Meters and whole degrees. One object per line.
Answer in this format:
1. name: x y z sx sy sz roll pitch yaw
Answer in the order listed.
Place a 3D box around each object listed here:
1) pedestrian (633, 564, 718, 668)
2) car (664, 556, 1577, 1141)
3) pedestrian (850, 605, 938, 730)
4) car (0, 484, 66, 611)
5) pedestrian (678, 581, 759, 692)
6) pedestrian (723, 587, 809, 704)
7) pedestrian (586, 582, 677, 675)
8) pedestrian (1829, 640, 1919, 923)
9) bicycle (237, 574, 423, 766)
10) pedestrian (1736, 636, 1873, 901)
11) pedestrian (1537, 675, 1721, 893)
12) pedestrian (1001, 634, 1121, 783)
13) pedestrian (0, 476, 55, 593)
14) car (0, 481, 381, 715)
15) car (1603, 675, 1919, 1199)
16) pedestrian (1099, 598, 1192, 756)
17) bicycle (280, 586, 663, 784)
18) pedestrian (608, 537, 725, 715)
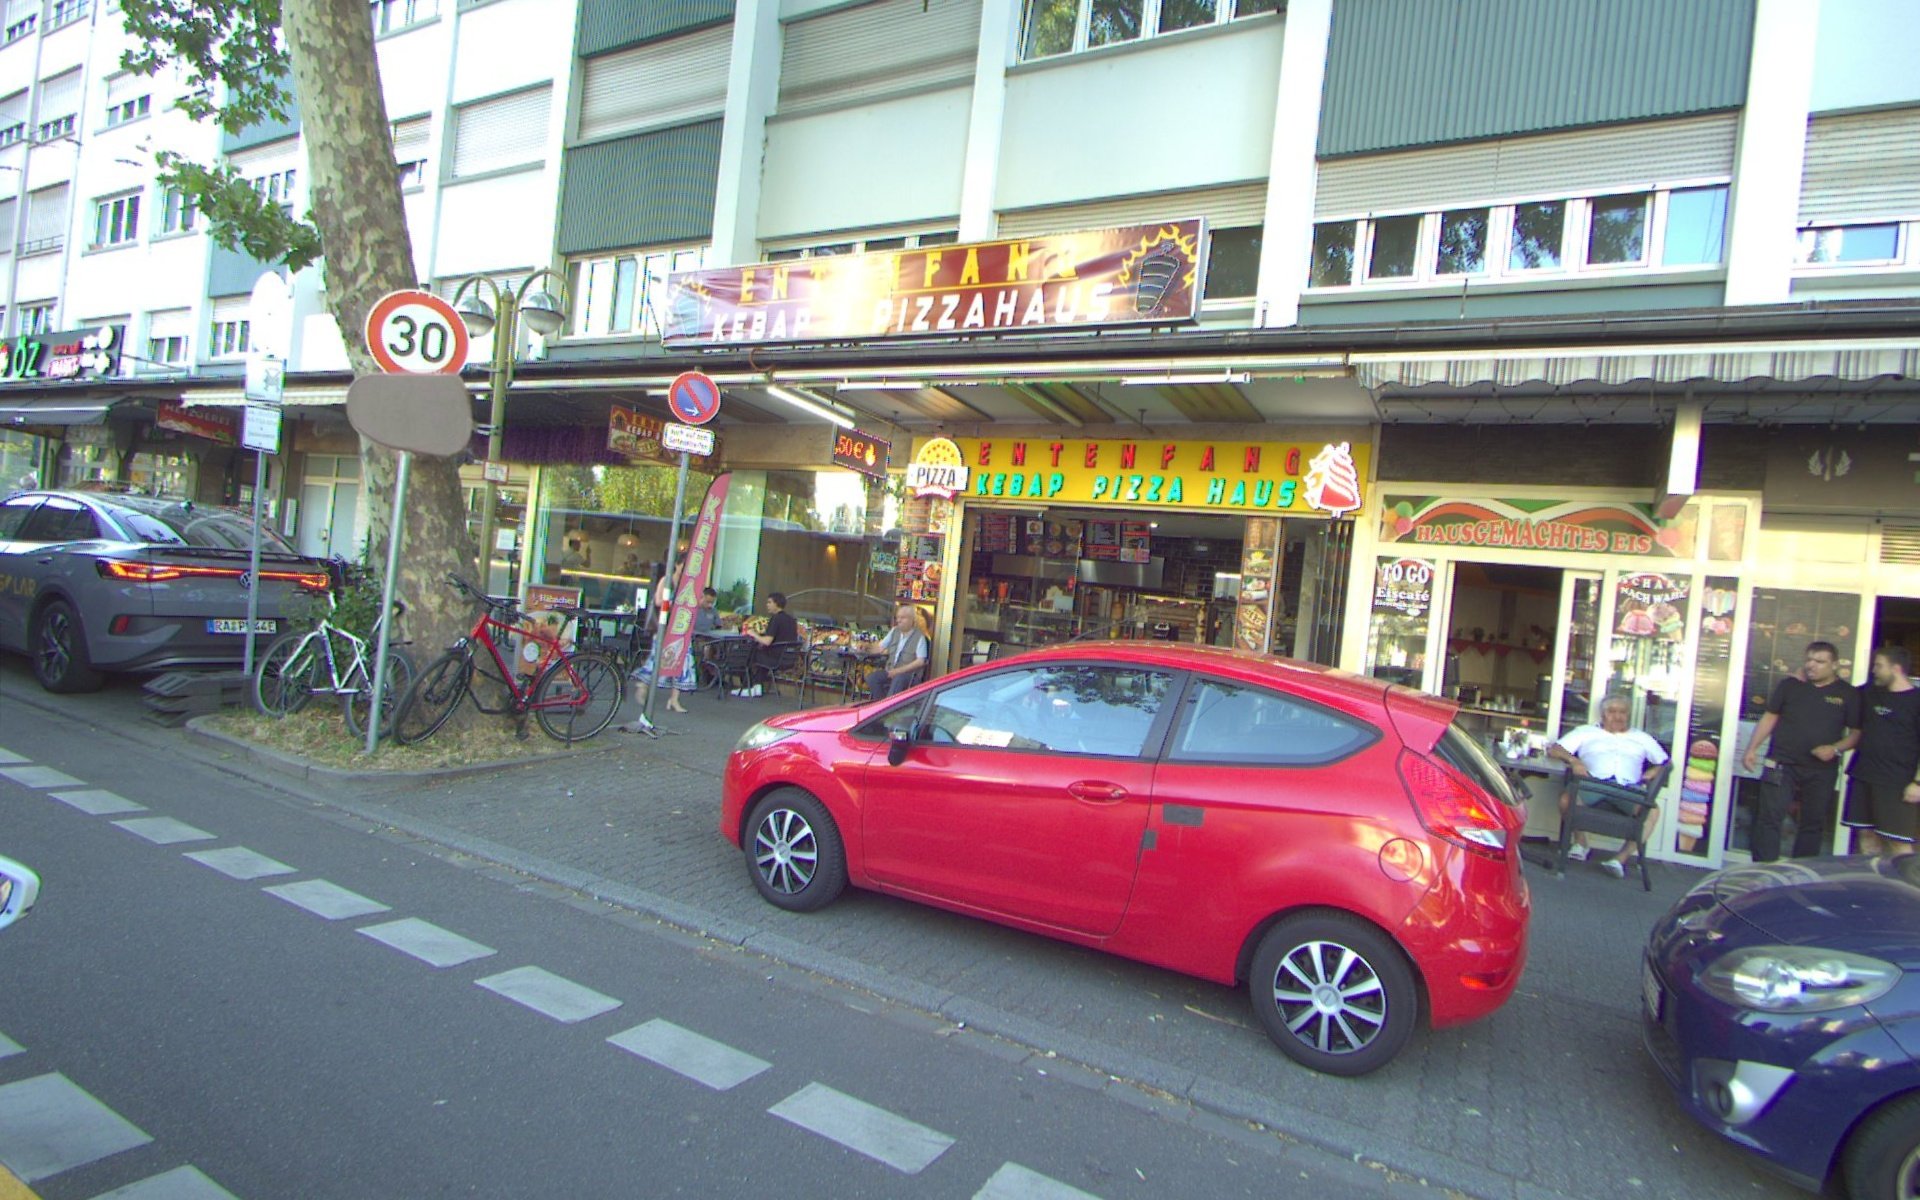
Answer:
1. pedestrian: -4.072 0.222 14.472 0.958 1.350 0.830 6 0 -9
2. car: 0.646 0.786 4.904 3.757 1.617 1.783 6 3 28
3. pedestrian: -0.710 0.718 10.856 0.550 1.252 0.689 7 2 29
4. car: -14.406 -0.915 13.603 4.292 1.603 1.996 7 2 27
5. pedestrian: -2.961 0.439 12.309 0.680 1.261 0.557 7 2 38
6. pedestrian: -2.252 0.523 11.691 0.679 1.261 0.558 7 2 33
7. pedestrian: -4.304 0.365 13.239 0.940 1.094 0.639 7 0 -9
8. pedestrian: 6.368 1.198 6.764 0.391 1.805 0.552 4 2 -29
9. bicycle: -4.553 0.470 7.239 1.421 1.169 0.553 6 0 36
10. pedestrian: 6.086 1.183 7.279 0.547 1.802 0.395 6 2 29
11. pedestrian: 4.899 1.297 7.467 0.937 1.352 1.069 7 0 30
12. pedestrian: 0.942 0.974 9.335 0.798 1.225 0.654 7 2 28
13. pedestrian: -14.145 -0.982 15.169 0.661 1.688 0.593 4 2 -42
14. car: -7.672 -0.152 9.250 4.292 1.603 1.996 7 2 27
15. car: 4.087 1.231 2.859 3.549 1.488 1.767 6 3 29
16. pedestrian: 1.987 0.817 10.734 0.589 1.566 0.700 7 0 34
17. bicycle: -3.331 0.524 7.102 0.547 1.171 2.377 7 4 44
18. pedestrian: -2.941 0.255 10.086 0.783 1.667 0.583 7 1 30
